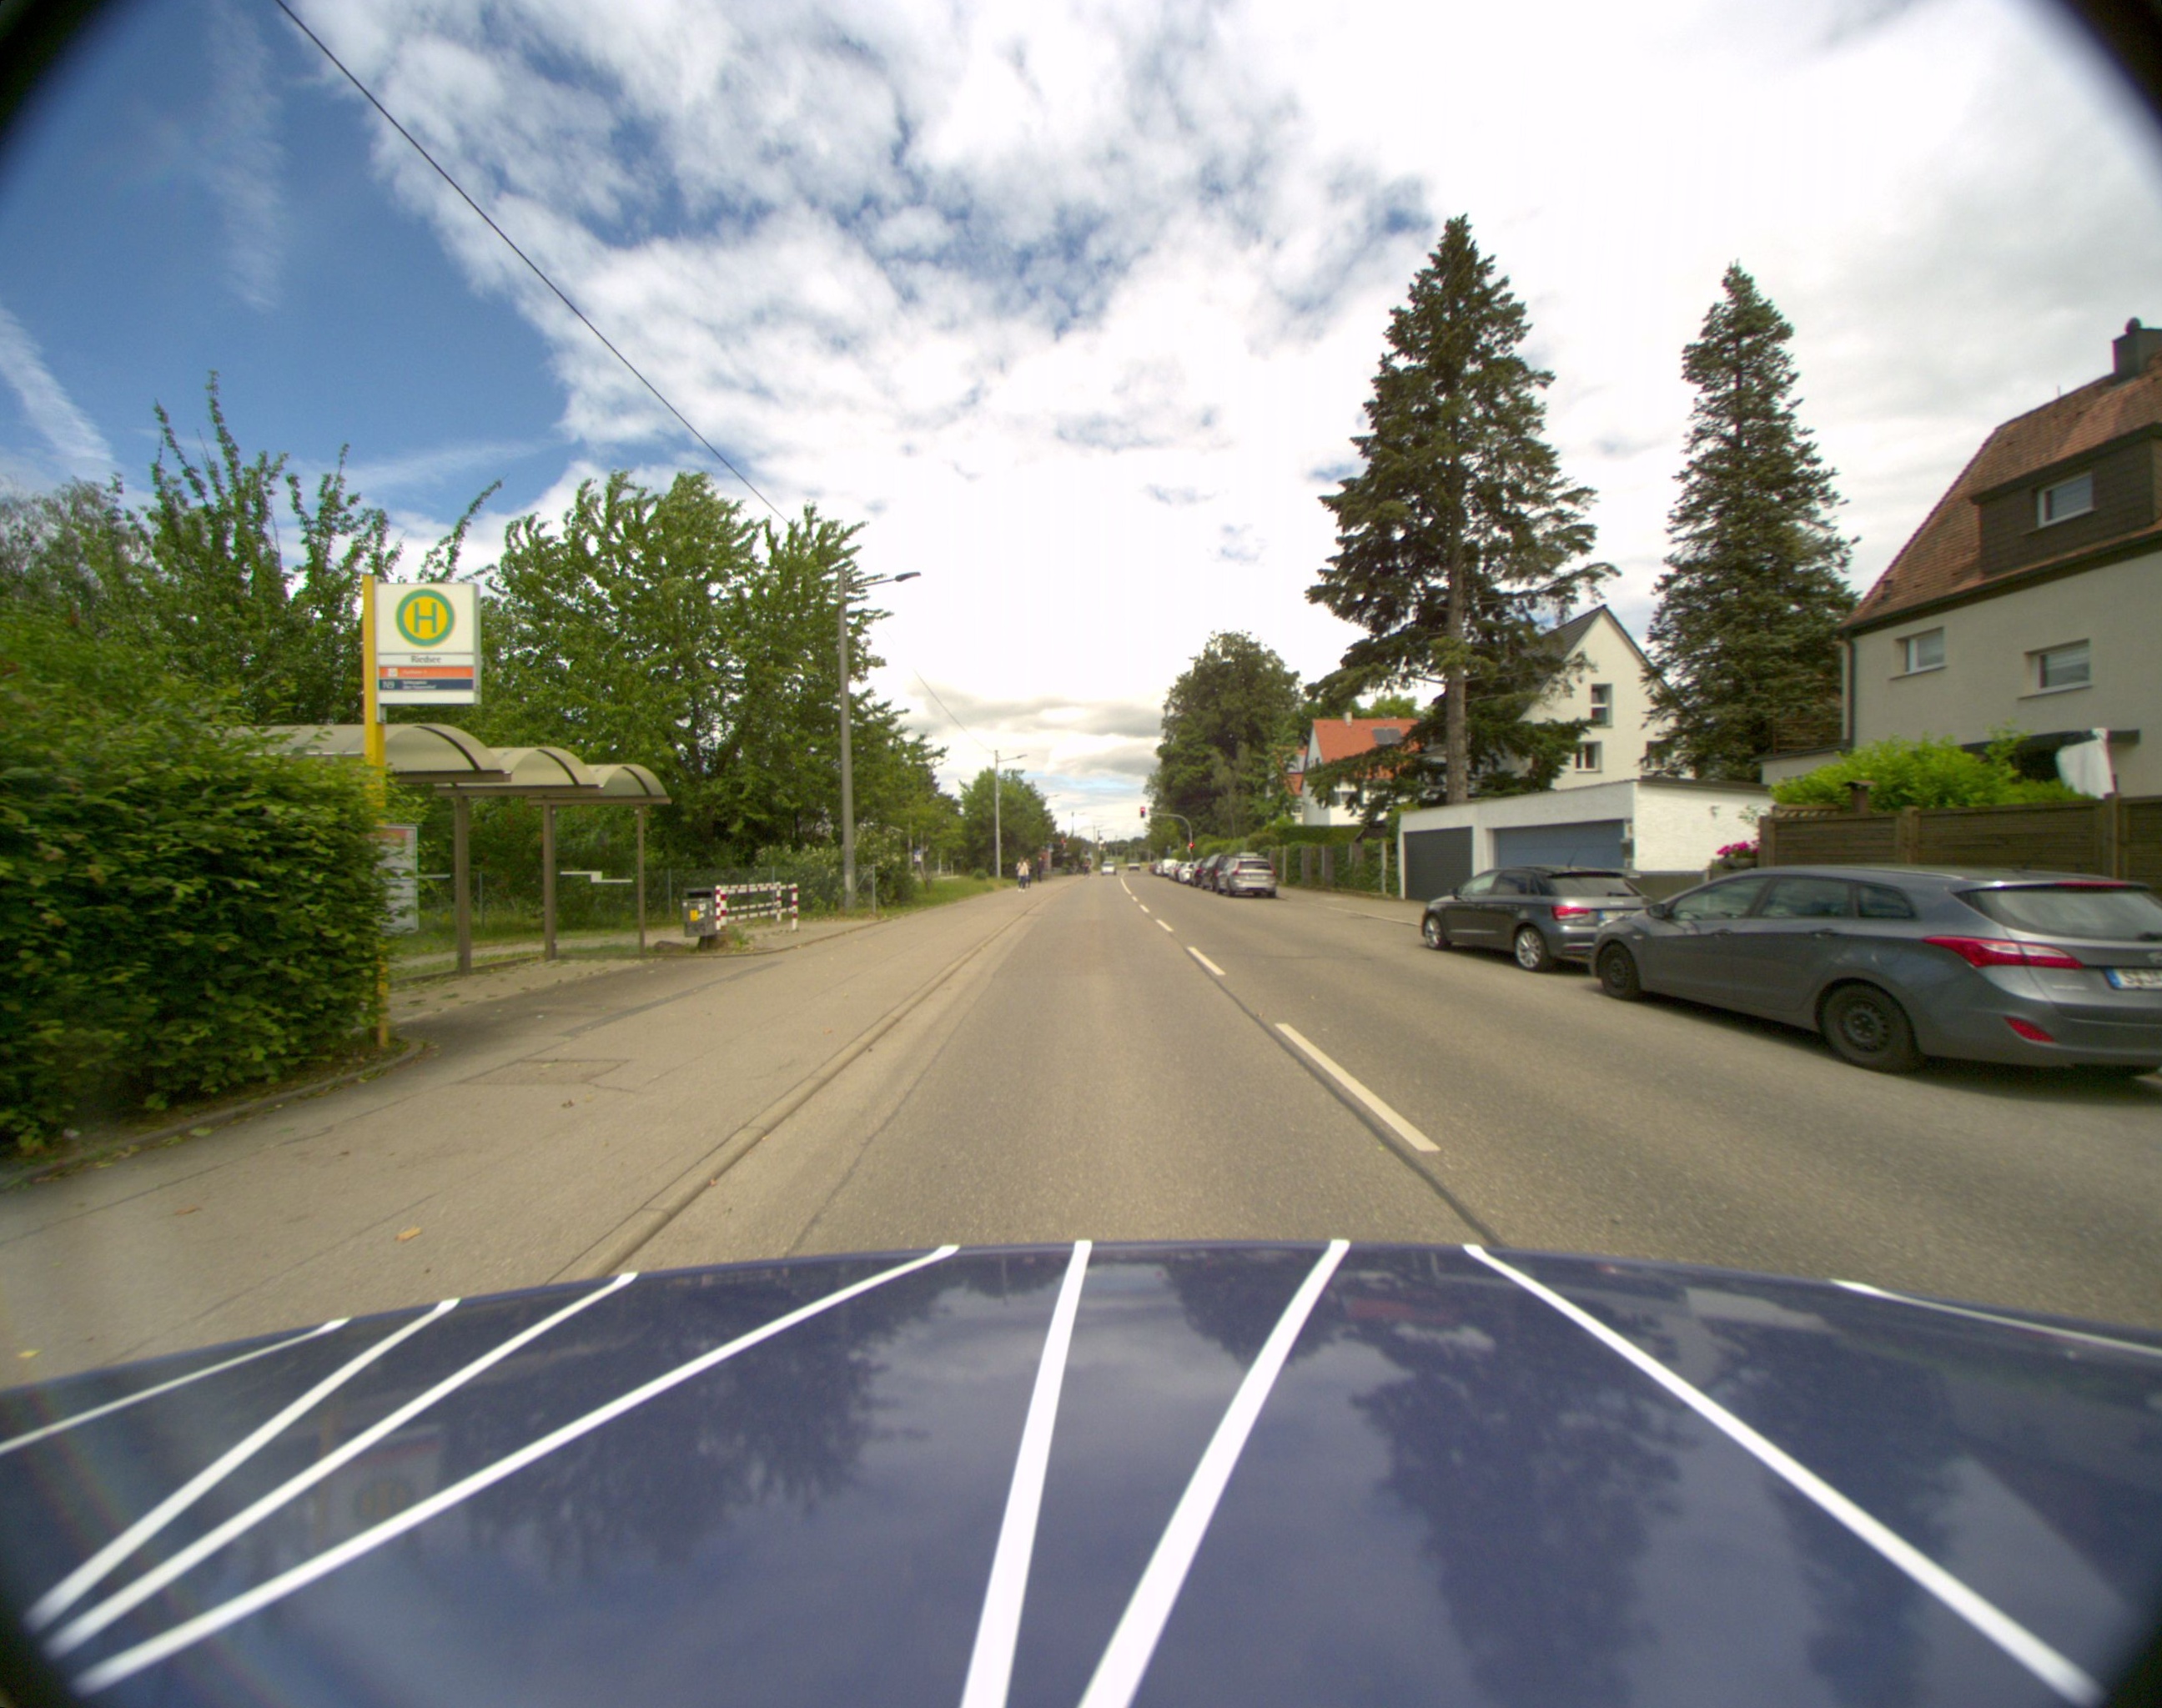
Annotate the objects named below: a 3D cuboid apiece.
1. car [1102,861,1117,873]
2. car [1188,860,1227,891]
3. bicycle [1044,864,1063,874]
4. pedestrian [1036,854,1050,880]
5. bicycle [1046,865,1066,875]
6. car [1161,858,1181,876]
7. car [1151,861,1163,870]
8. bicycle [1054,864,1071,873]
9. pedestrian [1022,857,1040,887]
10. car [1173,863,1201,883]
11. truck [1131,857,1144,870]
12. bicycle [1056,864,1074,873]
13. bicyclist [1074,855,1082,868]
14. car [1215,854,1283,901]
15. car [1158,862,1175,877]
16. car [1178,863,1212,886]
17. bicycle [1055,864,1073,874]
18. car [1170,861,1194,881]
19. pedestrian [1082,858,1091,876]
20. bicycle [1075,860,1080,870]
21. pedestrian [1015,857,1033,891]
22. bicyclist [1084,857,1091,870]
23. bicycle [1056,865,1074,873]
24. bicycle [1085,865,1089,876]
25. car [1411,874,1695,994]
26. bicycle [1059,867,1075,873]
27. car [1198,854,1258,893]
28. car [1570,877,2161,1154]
[{"bbox_3d":[3.410,1.572,90.724,1.665,1.394,3.901,-1,-1,3],"label":"car"},{"bbox_3d":[7.327,1.210,44.399,1.630,1.668,4.585,2,-1,2],"label":"car"},{"bbox_3d":[-3.035,1.711,84.924,2.092,1.074,0.547,0,0,6],"label":"bicycle"},{"bbox_3d":[-2.746,0.935,54.990,0.746,1.871,0.802,-2,0,9],"label":"pedestrian"},{"bbox_3d":[-2.817,1.784,86.319,2.093,1.041,0.559,-3,0,6],"label":"bicycle"},{"bbox_3d":[9.104,1.294,77.435,1.680,1.748,4.609,1,-1,3],"label":"car"},{"bbox_3d":[12.555,1.863,125.922,1.971,1.394,4.067,-1,-1,5],"label":"car"},{"bbox_3d":[-2.222,1.774,91.584,2.090,1.041,0.451,0,1,24],"label":"bicycle"},{"bbox_3d":[-2.827,1.031,43.428,0.841,1.649,0.766,-2,0,7],"label":"pedestrian"},{"bbox_3d":[7.894,1.367,56.855,1.746,1.402,4.325,1,0,4],"label":"car"},{"bbox_3d":[10.323,1.779,139.193,2.194,2.357,6.907,1,-1,4],"label":"truck"},{"bbox_3d":[-1.977,1.741,93.353,2.206,1.041,0.451,-1,0,2],"label":"bicycle"},{"bbox_3d":[-0.371,0.881,90.180,0.826,1.529,0.862,-1,0,3],"label":"bicyclist"},{"bbox_3d":[7.024,0.954,32.237,1.989,1.808,4.708,-1,-1,2],"label":"car"},{"bbox_3d":[9.328,1.655,82.549,1.708,1.444,4.360,2,0,7],"label":"car"},{"bbox_3d":[7.646,1.331,51.353,1.809,1.450,5.070,1,0,4],"label":"car"},{"bbox_3d":[-2.046,1.770,92.362,2.093,1.144,0.530,-1,0,1],"label":"bicycle"},{"bbox_3d":[8.252,1.388,62.485,1.706,1.534,3.744,1,0,4],"label":"car"},{"bbox_3d":[0.520,1.207,71.569,0.649,1.654,0.708,-2,0,8],"label":"pedestrian"},{"bbox_3d":[-0.432,1.296,90.165,0.451,1.142,2.208,-1,0,3],"label":"bicycle"},{"bbox_3d":[-2.787,0.974,37.251,0.687,1.649,0.690,-2,0,7],"label":"pedestrian"},{"bbox_3d":[0.749,1.169,90.542,0.826,1.529,0.862,-2,0,1],"label":"bicyclist"},{"bbox_3d":[-1.943,1.865,92.872,2.206,0.932,0.451,-2,0,1],"label":"bicycle"},{"bbox_3d":[0.737,1.923,90.598,0.451,1.278,2.207,-2,0,-1],"label":"bicycle"},{"bbox_3d":[6.682,1.038,11.329,1.656,1.418,3.905,1,-1,-3],"label":"car"},{"bbox_3d":[-1.792,2.037,95.663,1.988,0.635,0.332,-2,0,-7],"label":"bicycle"},{"bbox_3d":[7.345,0.933,38.452,2.072,1.744,4.884,-2,0,1],"label":"car"},{"bbox_3d":[6.546,1.000,6.599,1.871,1.450,4.489,0,0,2],"label":"car"}]
